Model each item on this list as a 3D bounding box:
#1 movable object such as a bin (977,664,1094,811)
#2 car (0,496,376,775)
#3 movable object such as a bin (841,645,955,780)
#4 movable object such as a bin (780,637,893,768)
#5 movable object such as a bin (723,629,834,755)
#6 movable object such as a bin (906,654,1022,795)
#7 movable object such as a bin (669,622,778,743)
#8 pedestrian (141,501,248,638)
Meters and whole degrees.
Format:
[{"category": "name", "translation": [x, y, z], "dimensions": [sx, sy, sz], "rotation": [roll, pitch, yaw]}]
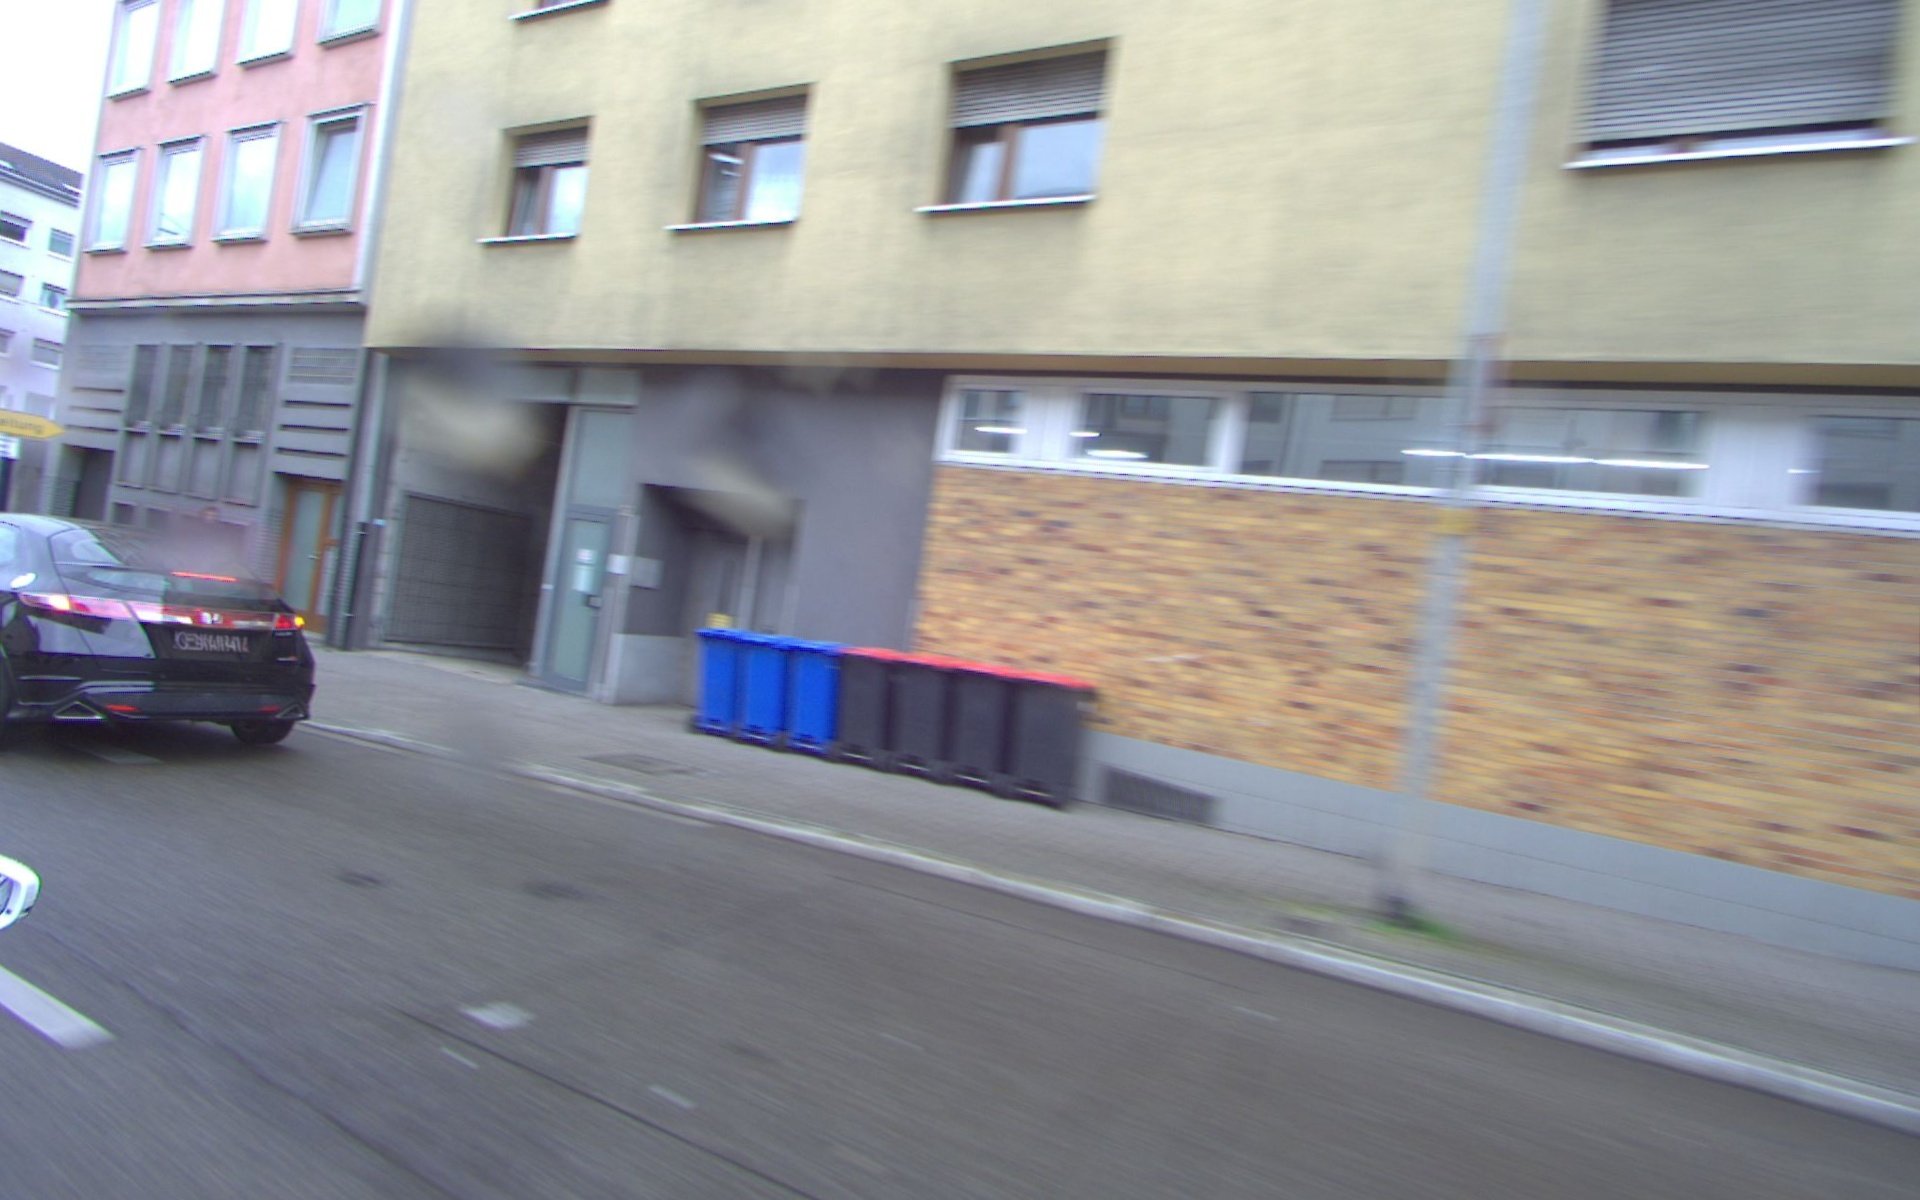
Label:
[{"category": "movable object such as a bin", "translation": [0.646, 1.139, 8.495], "dimensions": [0.656, 1.089, 0.682], "rotation": [7, 0, 27]}, {"category": "car", "translation": [-6.413, 0.124, 7.249], "dimensions": [3.985, 1.514, 1.789], "rotation": [6, -2, 26]}, {"category": "movable object such as a bin", "translation": [-0.551, 1.003, 9.107], "dimensions": [0.656, 1.089, 0.682], "rotation": [7, 0, 27]}, {"category": "movable object such as a bin", "translation": [-1.145, 0.945, 9.411], "dimensions": [0.656, 1.089, 0.682], "rotation": [7, 0, 27]}, {"category": "movable object such as a bin", "translation": [-1.744, 0.882, 9.713], "dimensions": [0.656, 1.089, 0.682], "rotation": [7, 0, 27]}, {"category": "movable object such as a bin", "translation": [0.045, 1.070, 8.796], "dimensions": [0.656, 1.089, 0.682], "rotation": [7, 0, 27]}, {"category": "movable object such as a bin", "translation": [-2.351, 0.818, 10.034], "dimensions": [0.656, 1.089, 0.682], "rotation": [7, 0, 27]}, {"category": "pedestrian", "translation": [-11.061, -0.441, 14.535], "dimensions": [1.076, 1.808, 0.674], "rotation": [8, -1, 30]}]
